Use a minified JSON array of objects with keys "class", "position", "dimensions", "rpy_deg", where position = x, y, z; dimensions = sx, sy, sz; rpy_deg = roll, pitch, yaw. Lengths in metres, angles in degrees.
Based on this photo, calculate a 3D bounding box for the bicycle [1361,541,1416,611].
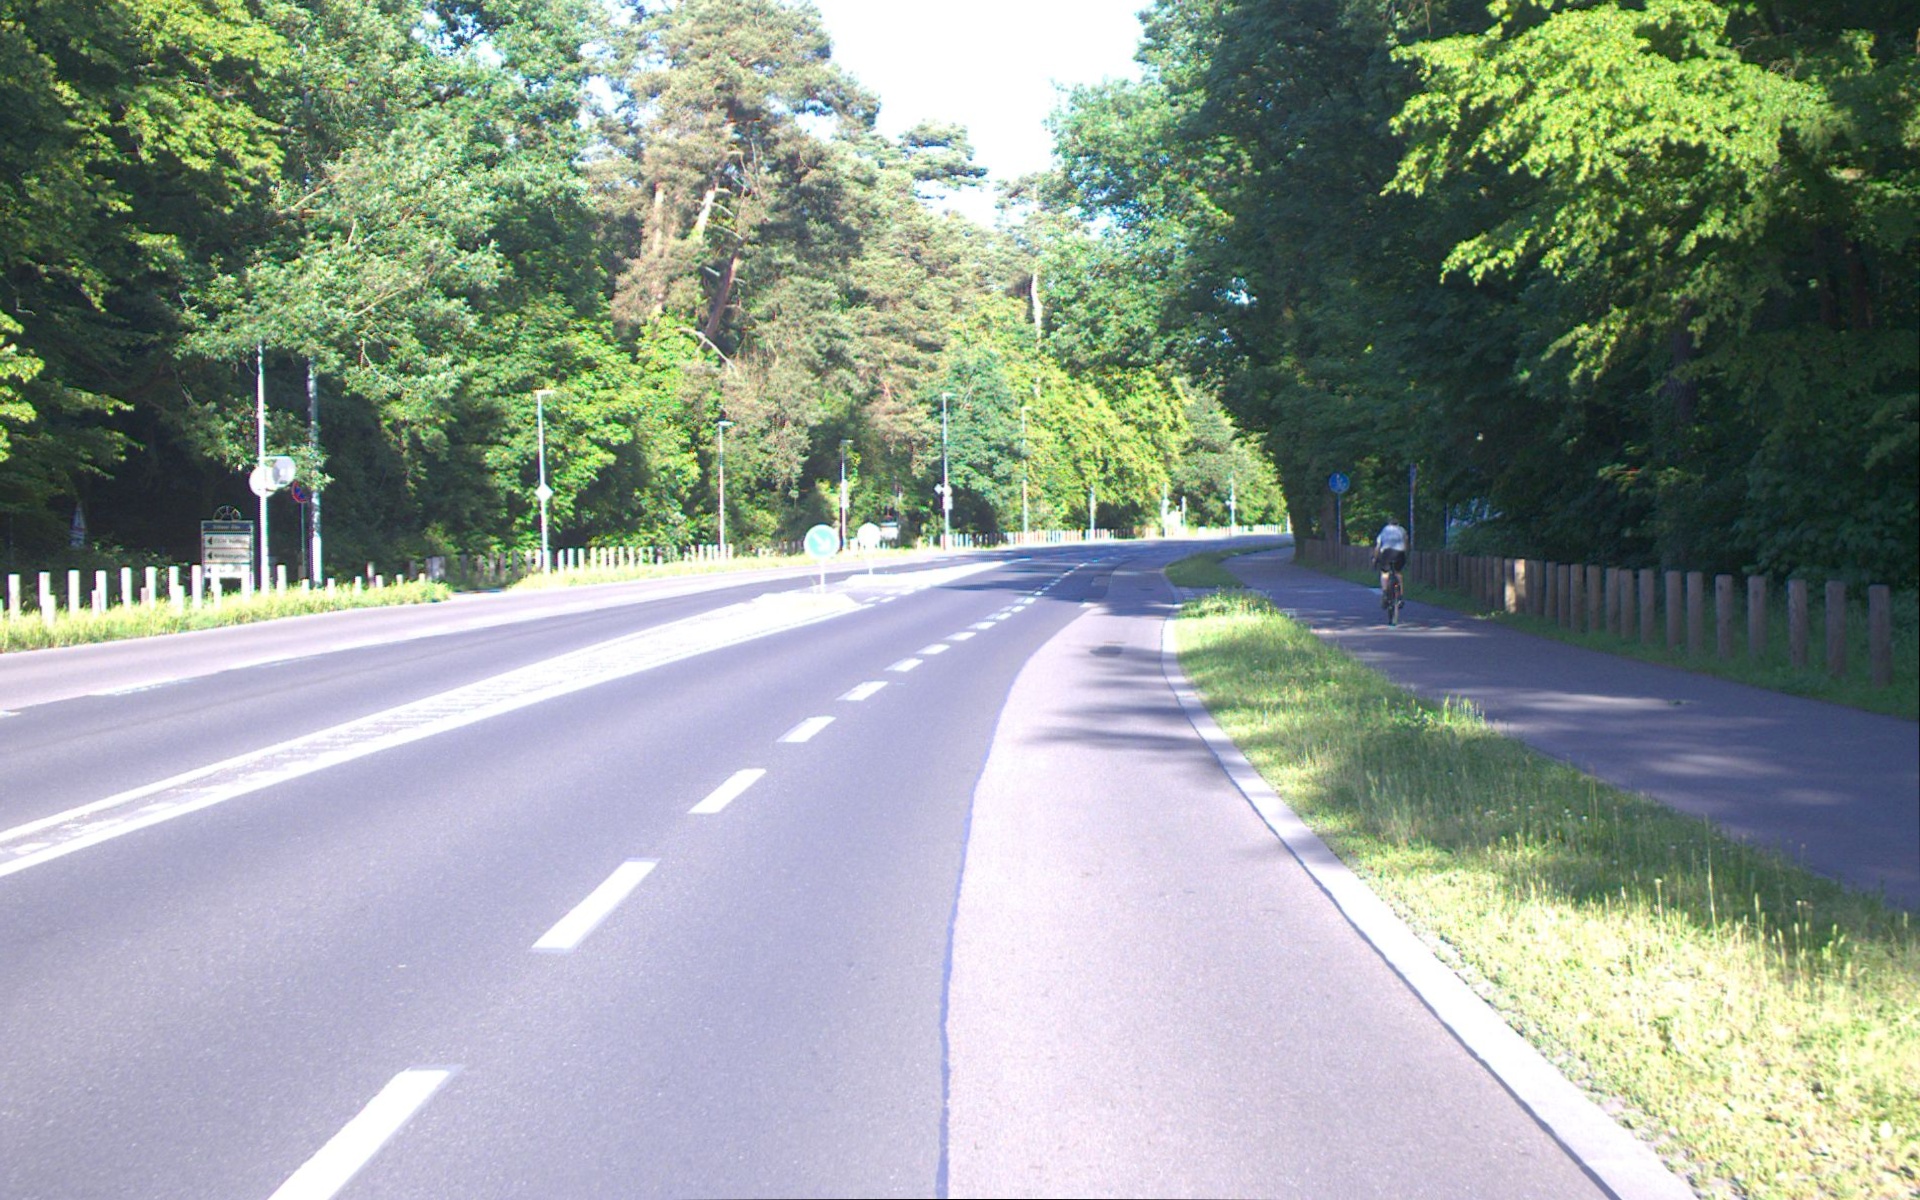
[{"class":"bicycle","position":[6.567,-0.378,52.751],"dimensions":[0.712,1.052,2.053],"rpy_deg":[0,1,4]}]

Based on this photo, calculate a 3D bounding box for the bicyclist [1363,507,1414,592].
[{"class":"bicyclist","position":[6.572,-0.772,52.742],"dimensions":[0.712,1.284,1.104],"rpy_deg":[0,1,4]}]
